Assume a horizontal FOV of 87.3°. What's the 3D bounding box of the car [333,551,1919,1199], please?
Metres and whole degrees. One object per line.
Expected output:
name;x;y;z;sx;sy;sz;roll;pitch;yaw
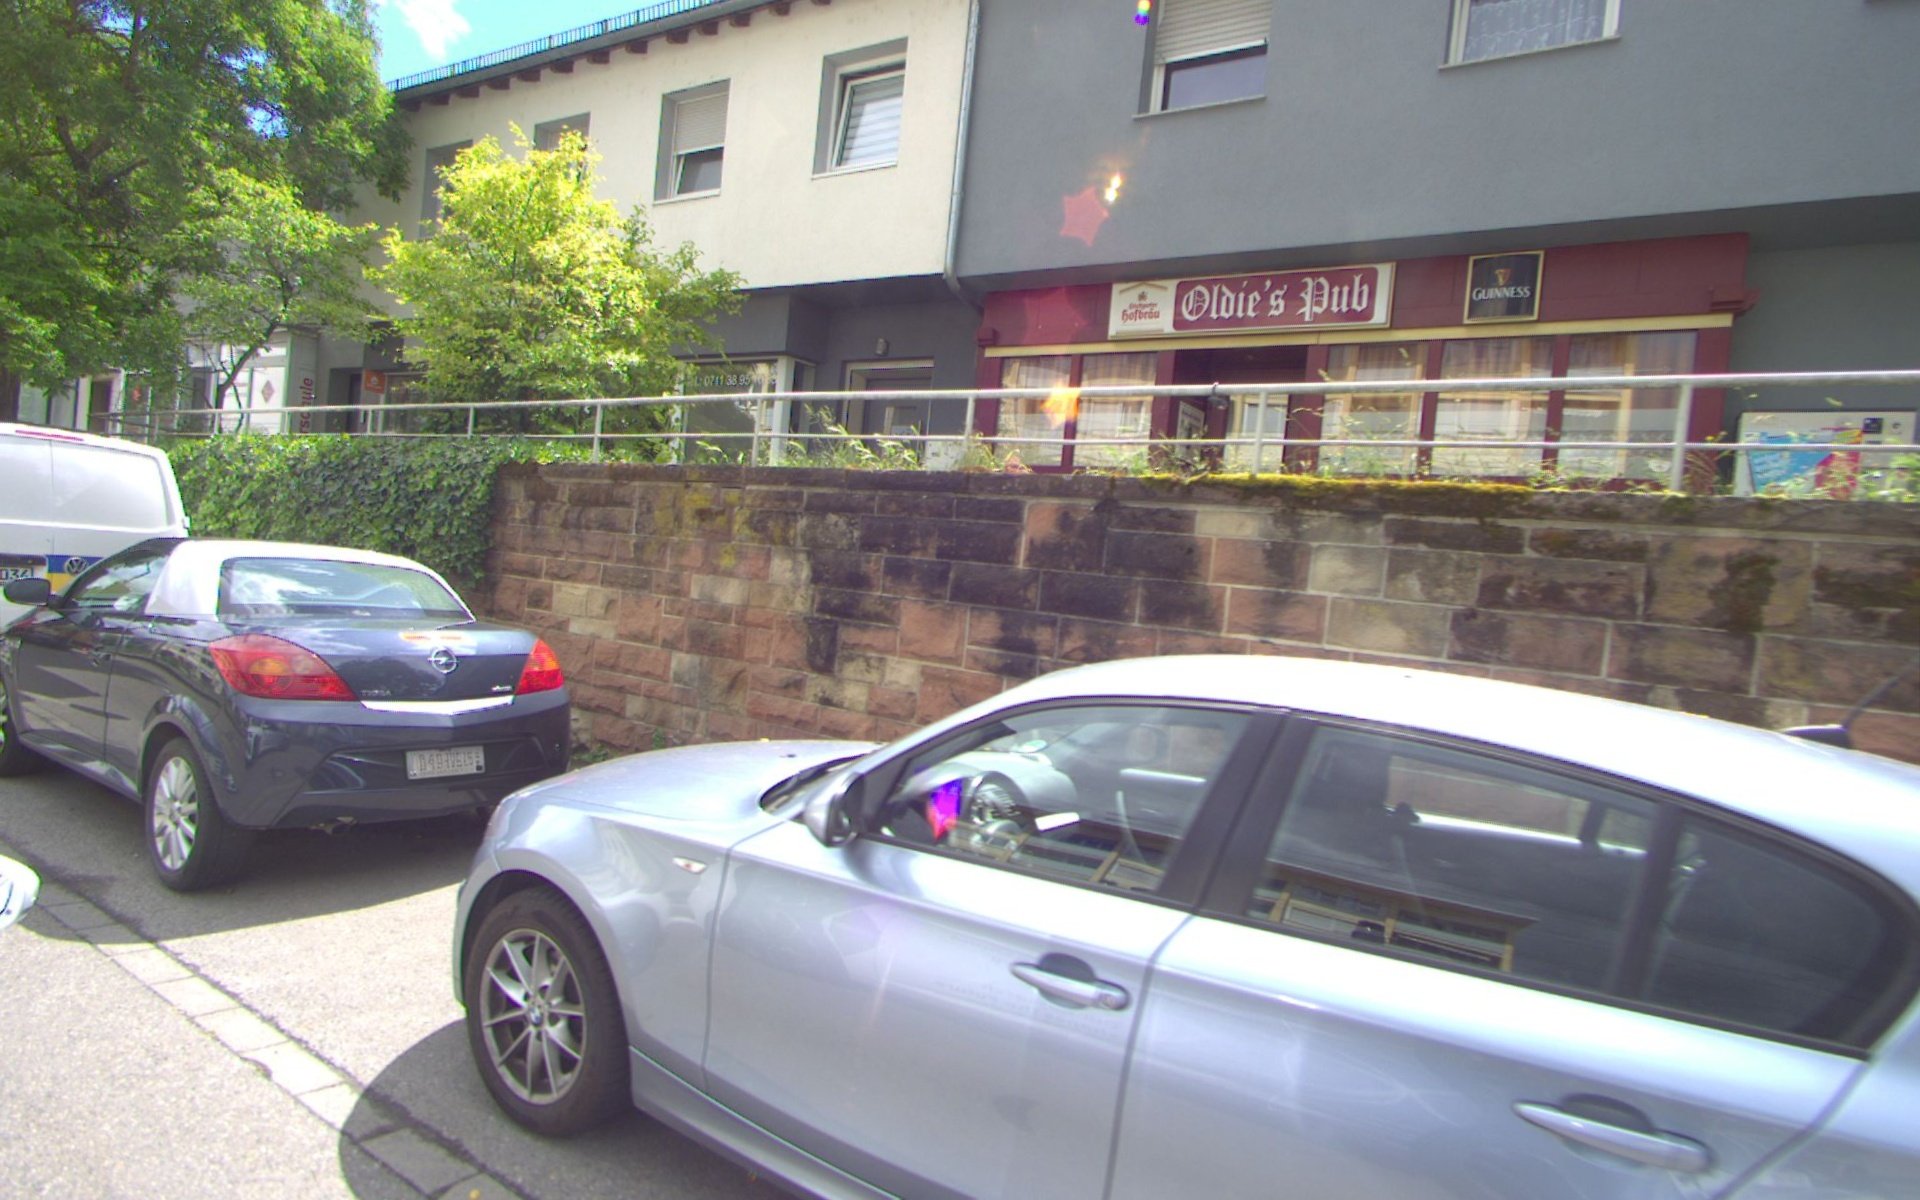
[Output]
car;0.336;0.781;2.750;4.076;1.447;1.781;6;2;31

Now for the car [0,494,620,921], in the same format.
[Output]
car;-3.689;0.330;5.297;3.674;1.446;1.575;6;0;34

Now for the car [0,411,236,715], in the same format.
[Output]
car;-8.197;-0.433;8.219;4.932;1.994;1.974;6;0;34
